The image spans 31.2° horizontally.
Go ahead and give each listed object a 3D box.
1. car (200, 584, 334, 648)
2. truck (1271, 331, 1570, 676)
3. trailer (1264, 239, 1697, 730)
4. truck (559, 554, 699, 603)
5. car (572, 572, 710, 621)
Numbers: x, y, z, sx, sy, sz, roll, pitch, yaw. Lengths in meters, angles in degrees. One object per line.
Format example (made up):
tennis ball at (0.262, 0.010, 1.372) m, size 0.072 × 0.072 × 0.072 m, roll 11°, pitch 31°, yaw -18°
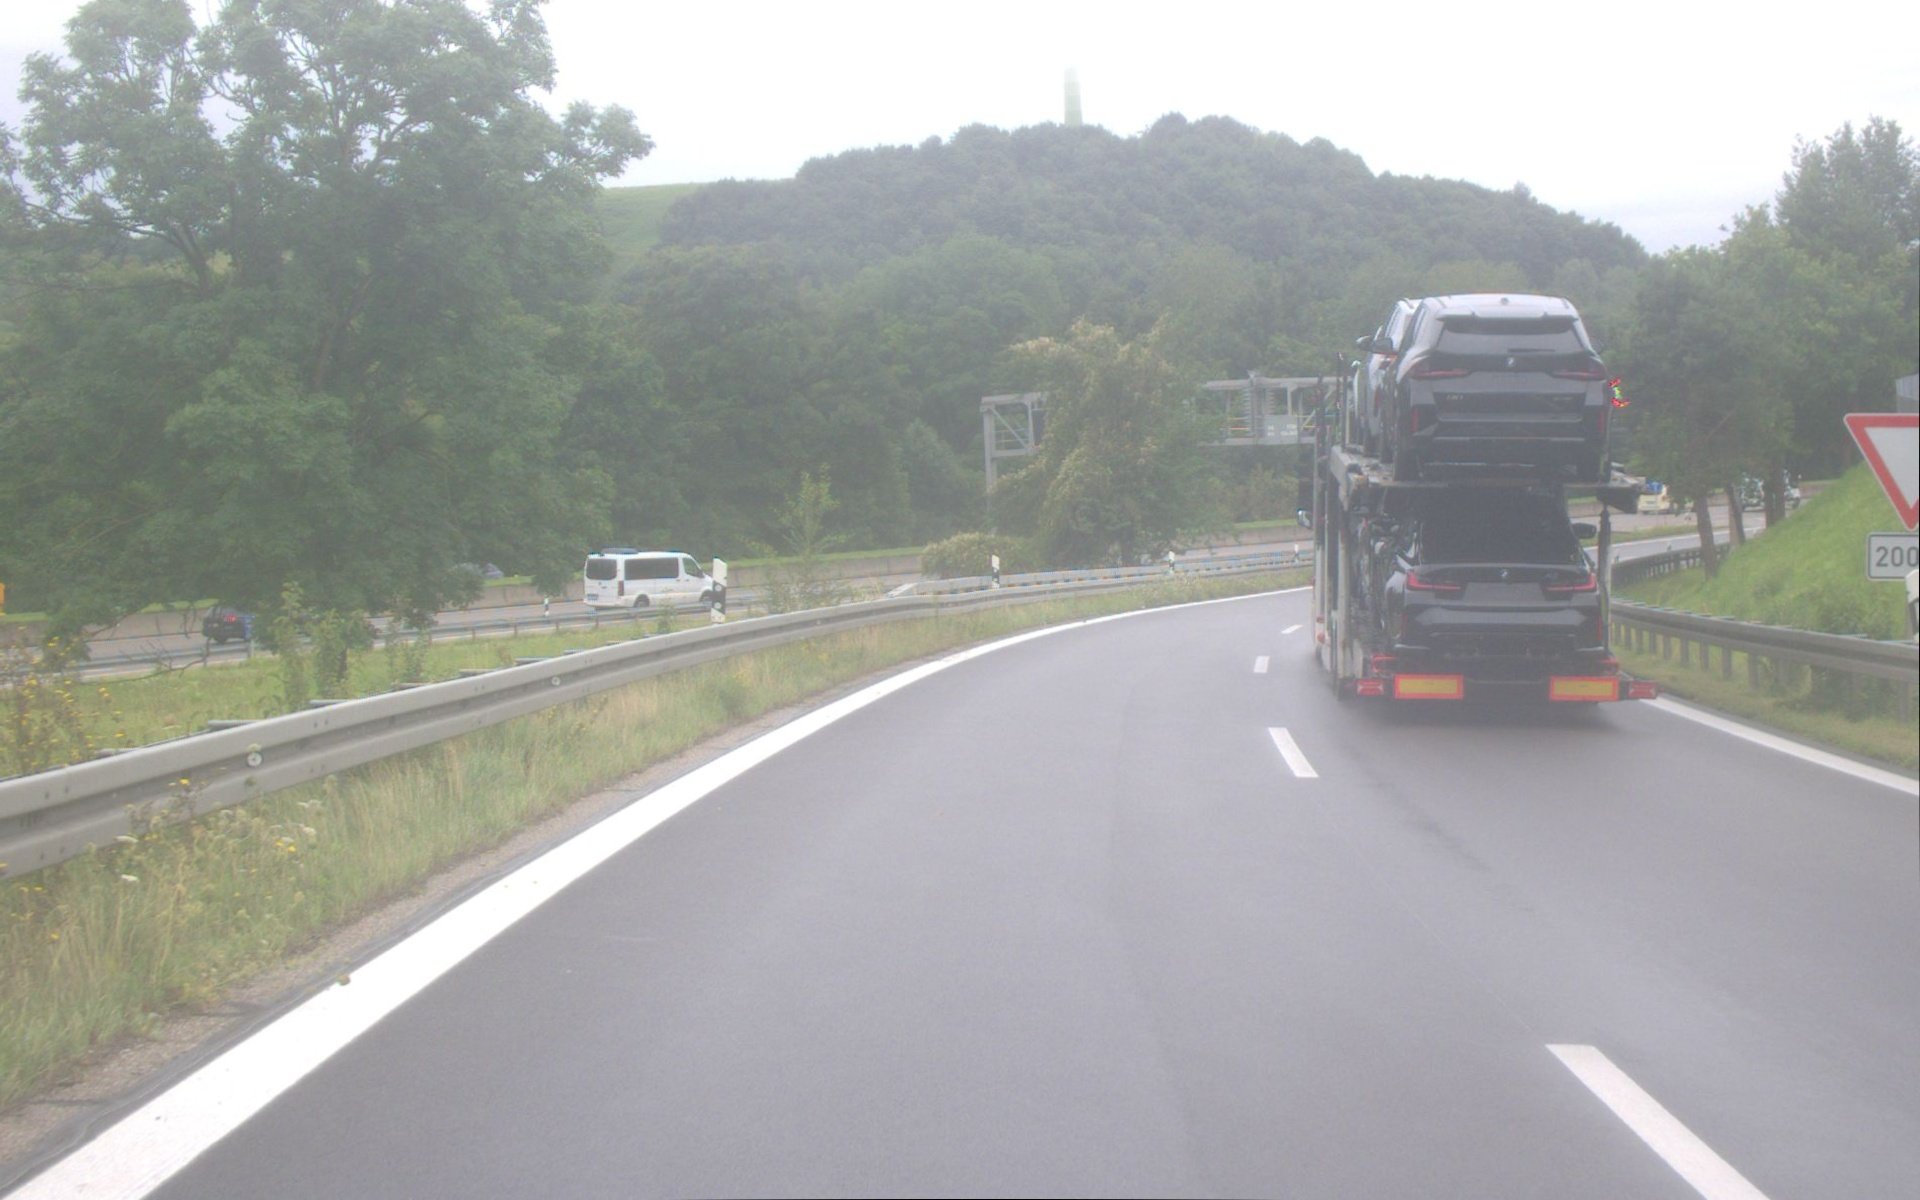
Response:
car at (-23.802, 0.541, 118.204) m, size 1.998 × 1.711 × 3.992 m, roll -5°, pitch 1°, yaw 39°
truck at (5.913, -1.214, 45.961) m, size 3.395 × 3.986 × 10.845 m, roll 1°, pitch 1°, yaw 5°
trailer at (4.836, -1.042, 34.459) m, size 3.449 × 3.986 × 12.024 m, roll 1°, pitch 1°, yaw 5°
truck at (-12.346, -0.812, 128.379) m, size 1.998 × 1.711 × 5.312 m, roll 0°, pitch 1°, yaw 40°
car at (-11.966, -0.138, 129.341) m, size 1.998 × 1.711 × 5.312 m, roll 0°, pitch 1°, yaw 40°
